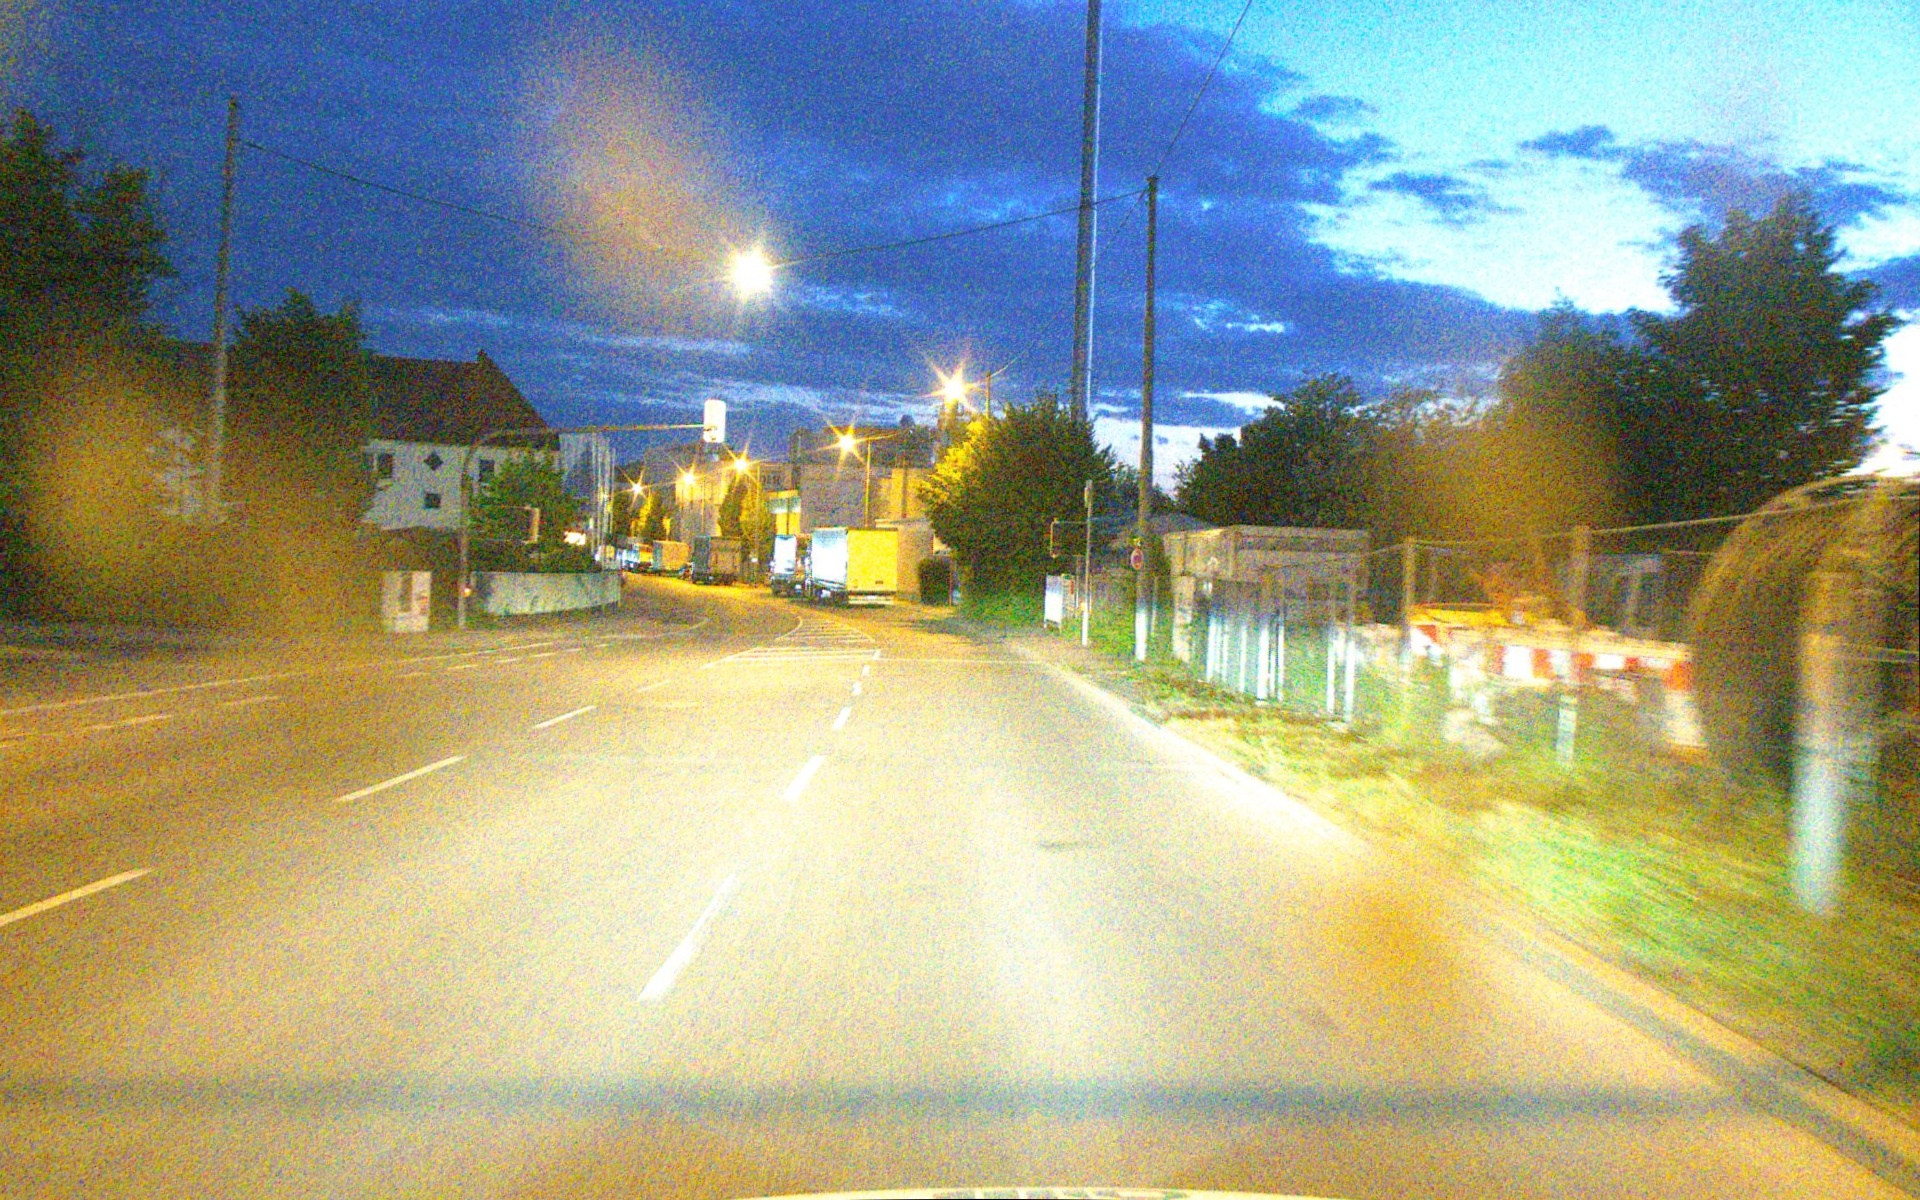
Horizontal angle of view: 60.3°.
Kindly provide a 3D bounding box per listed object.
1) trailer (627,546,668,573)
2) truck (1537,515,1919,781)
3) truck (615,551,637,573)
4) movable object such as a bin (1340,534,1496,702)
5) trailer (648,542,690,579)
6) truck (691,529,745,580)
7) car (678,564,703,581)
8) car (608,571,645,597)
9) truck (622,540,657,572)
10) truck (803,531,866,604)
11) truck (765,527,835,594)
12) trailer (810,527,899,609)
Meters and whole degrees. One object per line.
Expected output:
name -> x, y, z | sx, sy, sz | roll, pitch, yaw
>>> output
trailer -> -34.096, -4.400, 180.133 | 3.135, 2.796, 10.662 | 0, 1, -18
truck -> 9.122, 0.440, 19.329 | 2.139, 2.465, 7.316 | 3, 1, 0
truck -> -40.091, -4.585, 198.389 | 1.962, 2.449, 5.267 | 2, 1, -18
movable object such as a bin -> 7.009, 0.263, 25.403 | 1.650, 2.424, 1.611 | 3, 0, -13
trailer -> -29.003, -3.956, 164.716 | 2.647, 3.524, 7.763 | 2, 1, -20
truck -> -20.238, -3.741, 137.731 | 3.461, 4.052, 10.305 | 0, 1, -14
car -> -24.880, -2.528, 152.581 | 1.823, 1.545, 3.800 | 0, 1, -17
car -> -23.668, -1.134, 117.235 | 1.963, 1.665, 4.748 | 2, 1, -19
truck -> -36.256, -4.939, 186.893 | 3.102, 3.523, 6.640 | 0, 1, -18
truck -> -7.277, -1.896, 95.439 | 2.781, 4.052, 6.031 | 0, 1, -13
truck -> -10.298, -2.518, 105.629 | 2.783, 4.052, 10.302 | 0, 1, -15
trailer -> -5.857, -1.729, 88.864 | 2.759, 4.052, 13.933 | 0, 1, -12
